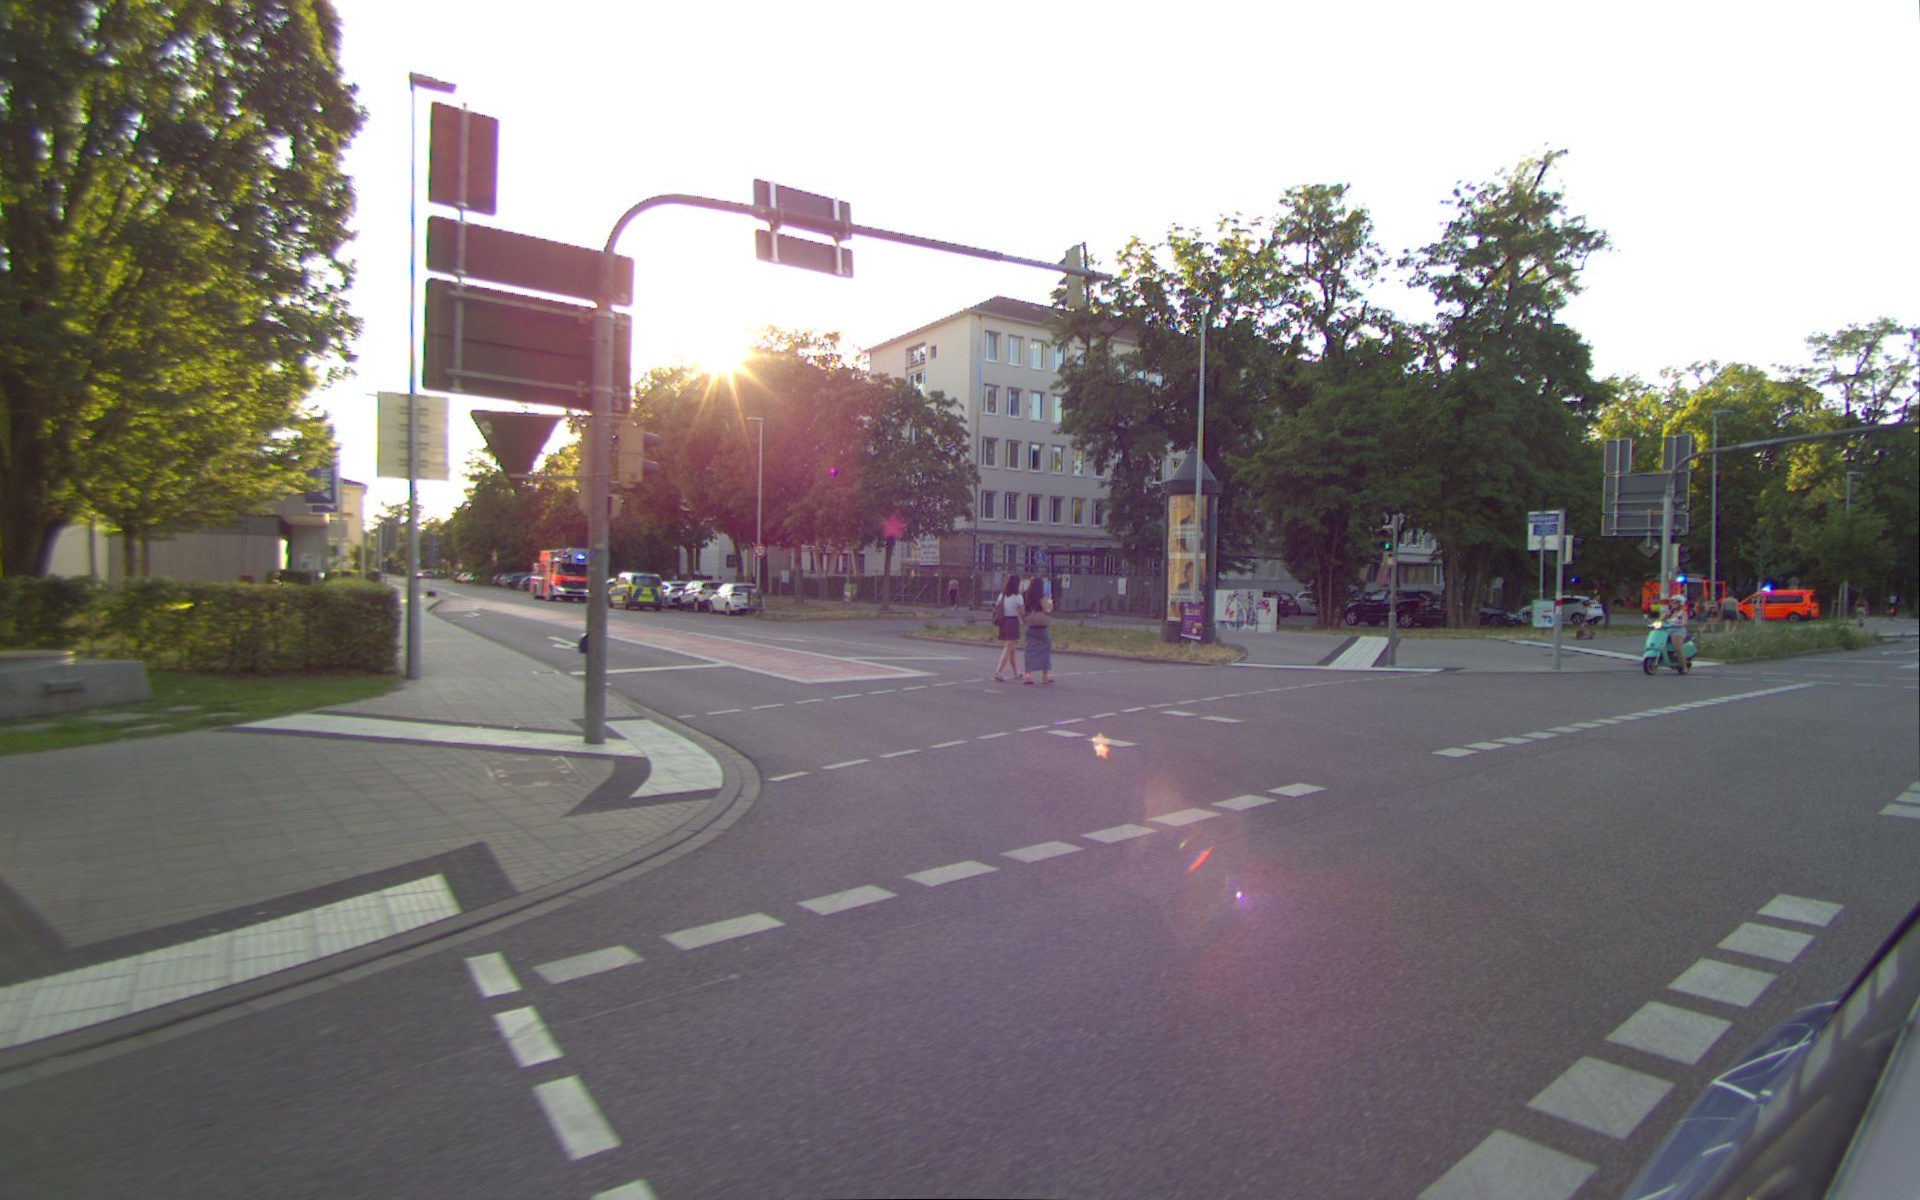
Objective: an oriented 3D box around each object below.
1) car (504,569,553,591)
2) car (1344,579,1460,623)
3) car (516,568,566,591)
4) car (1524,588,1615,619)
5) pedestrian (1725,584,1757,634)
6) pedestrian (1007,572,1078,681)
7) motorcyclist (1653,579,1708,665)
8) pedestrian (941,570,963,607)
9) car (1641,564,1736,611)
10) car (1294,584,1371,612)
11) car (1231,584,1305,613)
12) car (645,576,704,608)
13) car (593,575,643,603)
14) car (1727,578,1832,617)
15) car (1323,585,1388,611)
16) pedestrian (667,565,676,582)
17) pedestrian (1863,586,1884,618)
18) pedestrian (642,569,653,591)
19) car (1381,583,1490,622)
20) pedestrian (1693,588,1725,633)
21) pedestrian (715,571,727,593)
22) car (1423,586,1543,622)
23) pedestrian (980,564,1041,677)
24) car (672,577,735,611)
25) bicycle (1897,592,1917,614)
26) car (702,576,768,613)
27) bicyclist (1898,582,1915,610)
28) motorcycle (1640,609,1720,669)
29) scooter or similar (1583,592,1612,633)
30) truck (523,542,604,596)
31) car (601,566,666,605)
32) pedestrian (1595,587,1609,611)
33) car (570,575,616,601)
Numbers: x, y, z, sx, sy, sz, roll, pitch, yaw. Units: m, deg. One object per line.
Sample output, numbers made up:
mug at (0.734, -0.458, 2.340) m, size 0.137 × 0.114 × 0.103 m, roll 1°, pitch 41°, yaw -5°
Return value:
car at (-40.216, -1.840, 94.285) m, size 3.744 × 1.804 × 1.931 m, roll -5°, pitch 2°, yaw -39°
car at (18.914, 0.015, 43.496) m, size 1.881 × 1.762 × 4.242 m, roll 0°, pitch 1°, yaw -33°
car at (-38.273, -1.885, 92.396) m, size 3.744 × 1.804 × 1.931 m, roll -5°, pitch 2°, yaw -39°
car at (31.300, 0.136, 52.033) m, size 1.632 × 1.477 × 3.668 m, roll 0°, pitch 1°, yaw -33°
pedestrian at (26.488, 0.299, 34.317) m, size 0.763 × 1.681 × 0.720 m, roll 0°, pitch 1°, yaw -42°
pedestrian at (1.279, 0.401, 15.770) m, size 0.829 × 1.642 × 0.682 m, roll 1°, pitch 0°, yaw -39°
motorcyclist at (15.197, 0.450, 21.350) m, size 0.677 × 1.759 × 0.741 m, roll 1°, pitch 0°, yaw -30°
pedestrian at (-0.383, -0.562, 49.619) m, size 0.690 × 1.760 × 0.897 m, roll 0°, pitch 1°, yaw -30°
car at (53.274, -0.876, 73.907) m, size 8.134 × 3.284 × 2.776 m, roll 0°, pitch 1°, yaw -32°
car at (21.743, -0.116, 59.218) m, size 1.879 × 1.540 × 3.922 m, roll 0°, pitch 1°, yaw -30°
car at (17.130, -0.096, 56.400) m, size 1.737 × 1.477 × 3.627 m, roll 0°, pitch 1°, yaw -36°
car at (-15.734, -0.486, 55.700) m, size 1.962 × 1.660 × 4.001 m, roll 0°, pitch 1°, yaw -34°
car at (-21.653, -0.704, 63.987) m, size 1.962 × 1.660 × 4.001 m, roll 0°, pitch 1°, yaw -34°
car at (54.884, -0.212, 67.875) m, size 1.962 × 2.422 × 5.170 m, roll 0°, pitch 1°, yaw -35°
car at (23.607, -0.155, 60.548) m, size 1.734 × 1.477 × 3.320 m, roll 0°, pitch 1°, yaw -25°
pedestrian at (-26.946, -2.486, 94.532) m, size 0.670 × 1.642 × 0.689 m, roll 0°, pitch 1°, yaw -34°
pedestrian at (46.668, 0.097, 51.696) m, size 0.676 × 1.642 × 0.682 m, roll 1°, pitch 0°, yaw -38°
pedestrian at (-23.524, -1.512, 76.285) m, size 0.674 × 1.642 × 0.684 m, roll 0°, pitch 1°, yaw -26°
car at (21.157, 0.082, 45.147) m, size 1.881 × 1.631 × 4.004 m, roll 0°, pitch 1°, yaw -31°
pedestrian at (25.922, 0.350, 35.002) m, size 0.775 × 1.542 × 0.736 m, roll 0°, pitch 1°, yaw -43°
pedestrian at (-18.420, -1.367, 77.924) m, size 0.670 × 1.642 × 0.689 m, roll 0°, pitch 1°, yaw -34°
car at (23.932, 0.165, 46.436) m, size 1.883 × 1.482 × 4.520 m, roll 0°, pitch 1°, yaw -35°
pedestrian at (0.810, 0.310, 16.370) m, size 0.676 × 1.776 × 0.682 m, roll 1°, pitch 0°, yaw -38°
car at (-13.092, -0.349, 51.498) m, size 1.961 × 1.632 × 4.003 m, roll 0°, pitch 1°, yaw -32°
bicycle at (57.052, 0.180, 60.961) m, size 1.864 × 1.256 × 0.571 m, roll 0°, pitch 1°, yaw -39°
car at (-10.644, -0.296, 47.742) m, size 1.863 × 1.660 × 4.004 m, roll 0°, pitch 1°, yaw -31°
bicyclist at (56.879, -0.255, 60.807) m, size 1.019 × 1.653 × 0.571 m, roll 0°, pitch 1°, yaw -39°
motorcycle at (15.193, 0.794, 21.342) m, size 1.856 × 1.213 × 0.685 m, roll 1°, pitch 0°, yaw -30°
scooter or similar at (20.597, 0.388, 32.686) m, size 1.158 × 1.287 × 0.441 m, roll 0°, pitch 1°, yaw -39°
truck at (-25.408, -1.932, 64.508) m, size 2.591 × 3.179 × 10.277 m, roll 0°, pitch 1°, yaw -35°
car at (-16.990, -0.728, 52.544) m, size 2.017 × 1.886 × 4.496 m, roll 0°, pitch -1°, yaw -34°
pedestrian at (50.348, -0.054, 79.365) m, size 0.830 × 1.865 × 0.683 m, roll 1°, pitch 0°, yaw -36°
car at (-24.855, -0.819, 68.502) m, size 1.962 × 1.660 × 4.001 m, roll 0°, pitch 1°, yaw -34°
